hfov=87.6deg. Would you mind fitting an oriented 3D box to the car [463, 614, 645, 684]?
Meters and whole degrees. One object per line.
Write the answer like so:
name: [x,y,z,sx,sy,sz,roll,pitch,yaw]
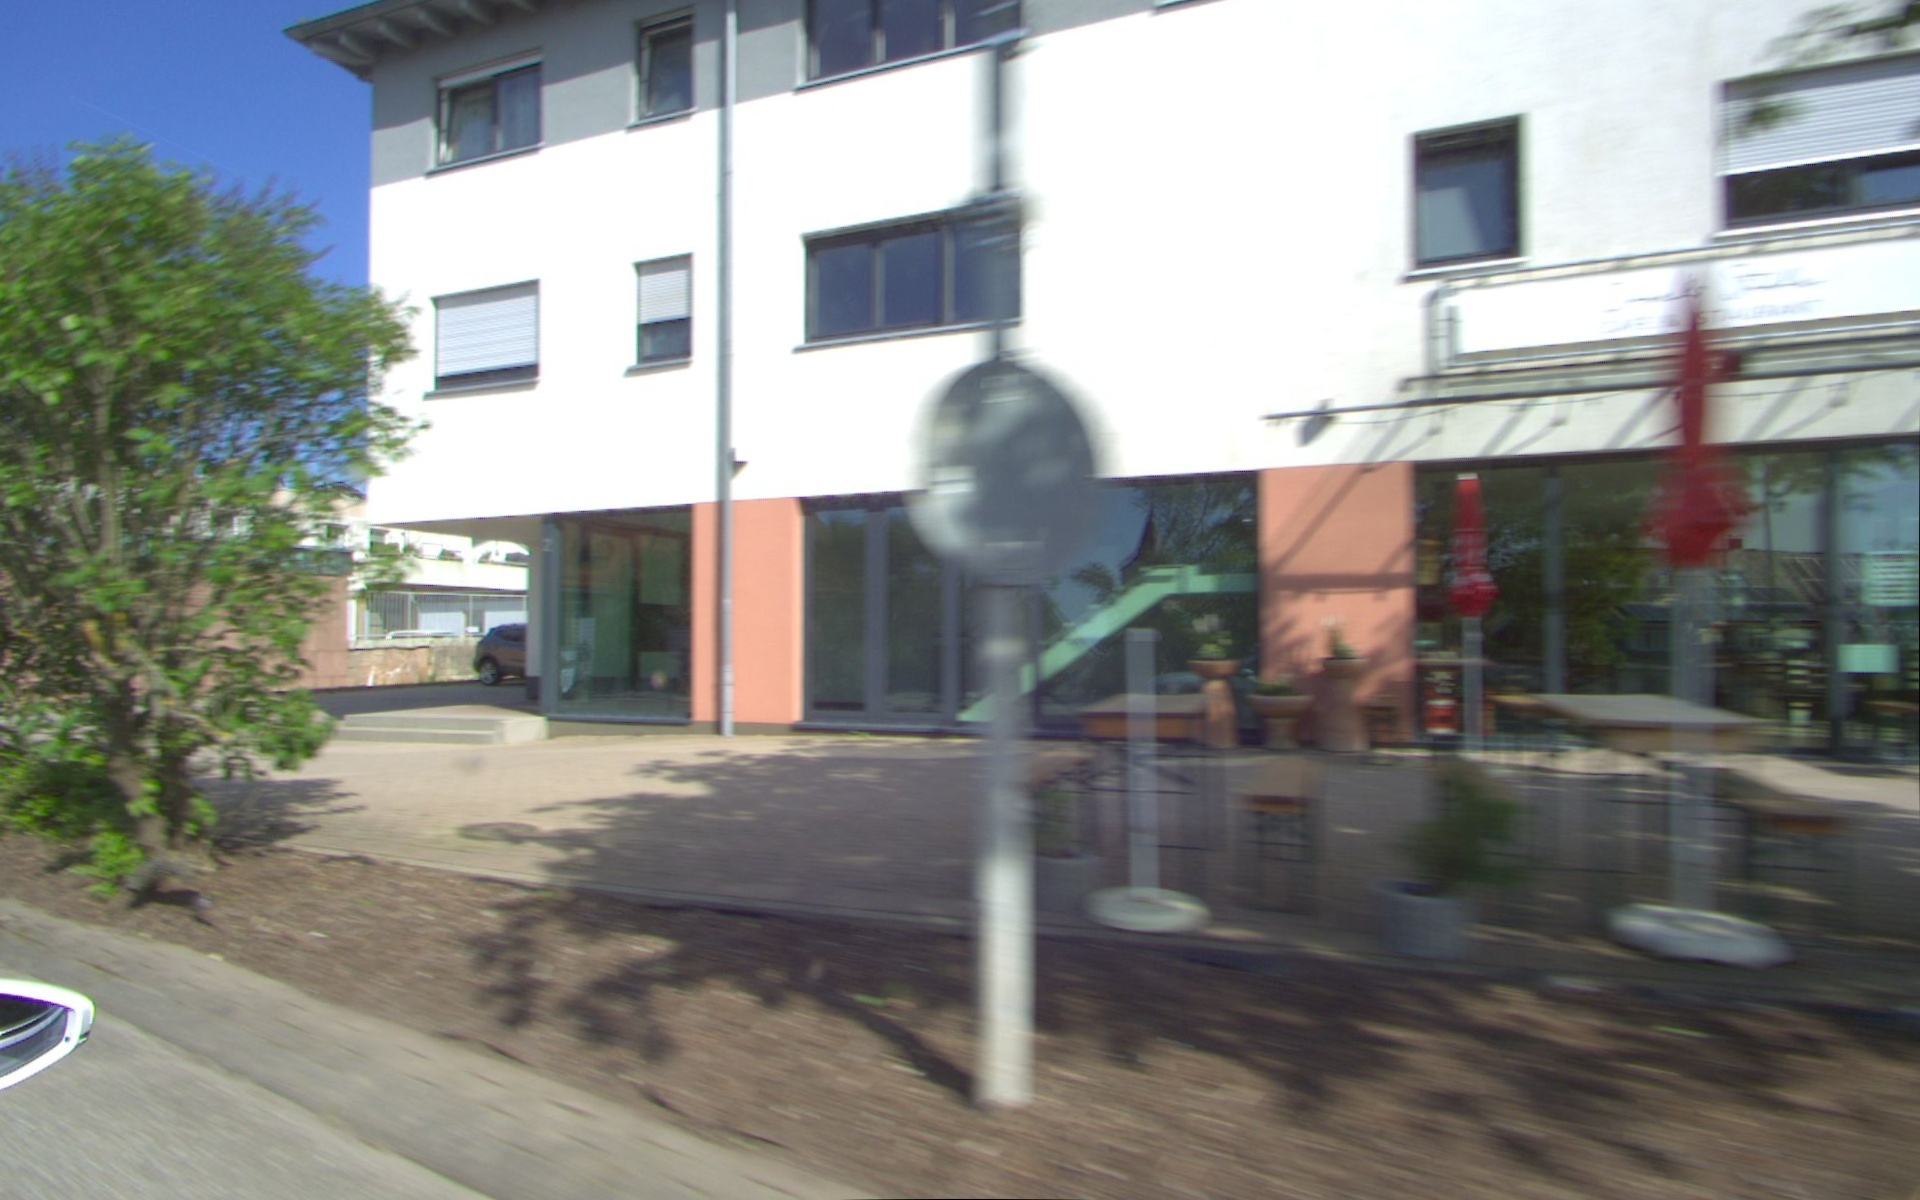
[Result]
car: [-10.591,1.222,26.120,4.304,1.671,1.918,0,0,22]
